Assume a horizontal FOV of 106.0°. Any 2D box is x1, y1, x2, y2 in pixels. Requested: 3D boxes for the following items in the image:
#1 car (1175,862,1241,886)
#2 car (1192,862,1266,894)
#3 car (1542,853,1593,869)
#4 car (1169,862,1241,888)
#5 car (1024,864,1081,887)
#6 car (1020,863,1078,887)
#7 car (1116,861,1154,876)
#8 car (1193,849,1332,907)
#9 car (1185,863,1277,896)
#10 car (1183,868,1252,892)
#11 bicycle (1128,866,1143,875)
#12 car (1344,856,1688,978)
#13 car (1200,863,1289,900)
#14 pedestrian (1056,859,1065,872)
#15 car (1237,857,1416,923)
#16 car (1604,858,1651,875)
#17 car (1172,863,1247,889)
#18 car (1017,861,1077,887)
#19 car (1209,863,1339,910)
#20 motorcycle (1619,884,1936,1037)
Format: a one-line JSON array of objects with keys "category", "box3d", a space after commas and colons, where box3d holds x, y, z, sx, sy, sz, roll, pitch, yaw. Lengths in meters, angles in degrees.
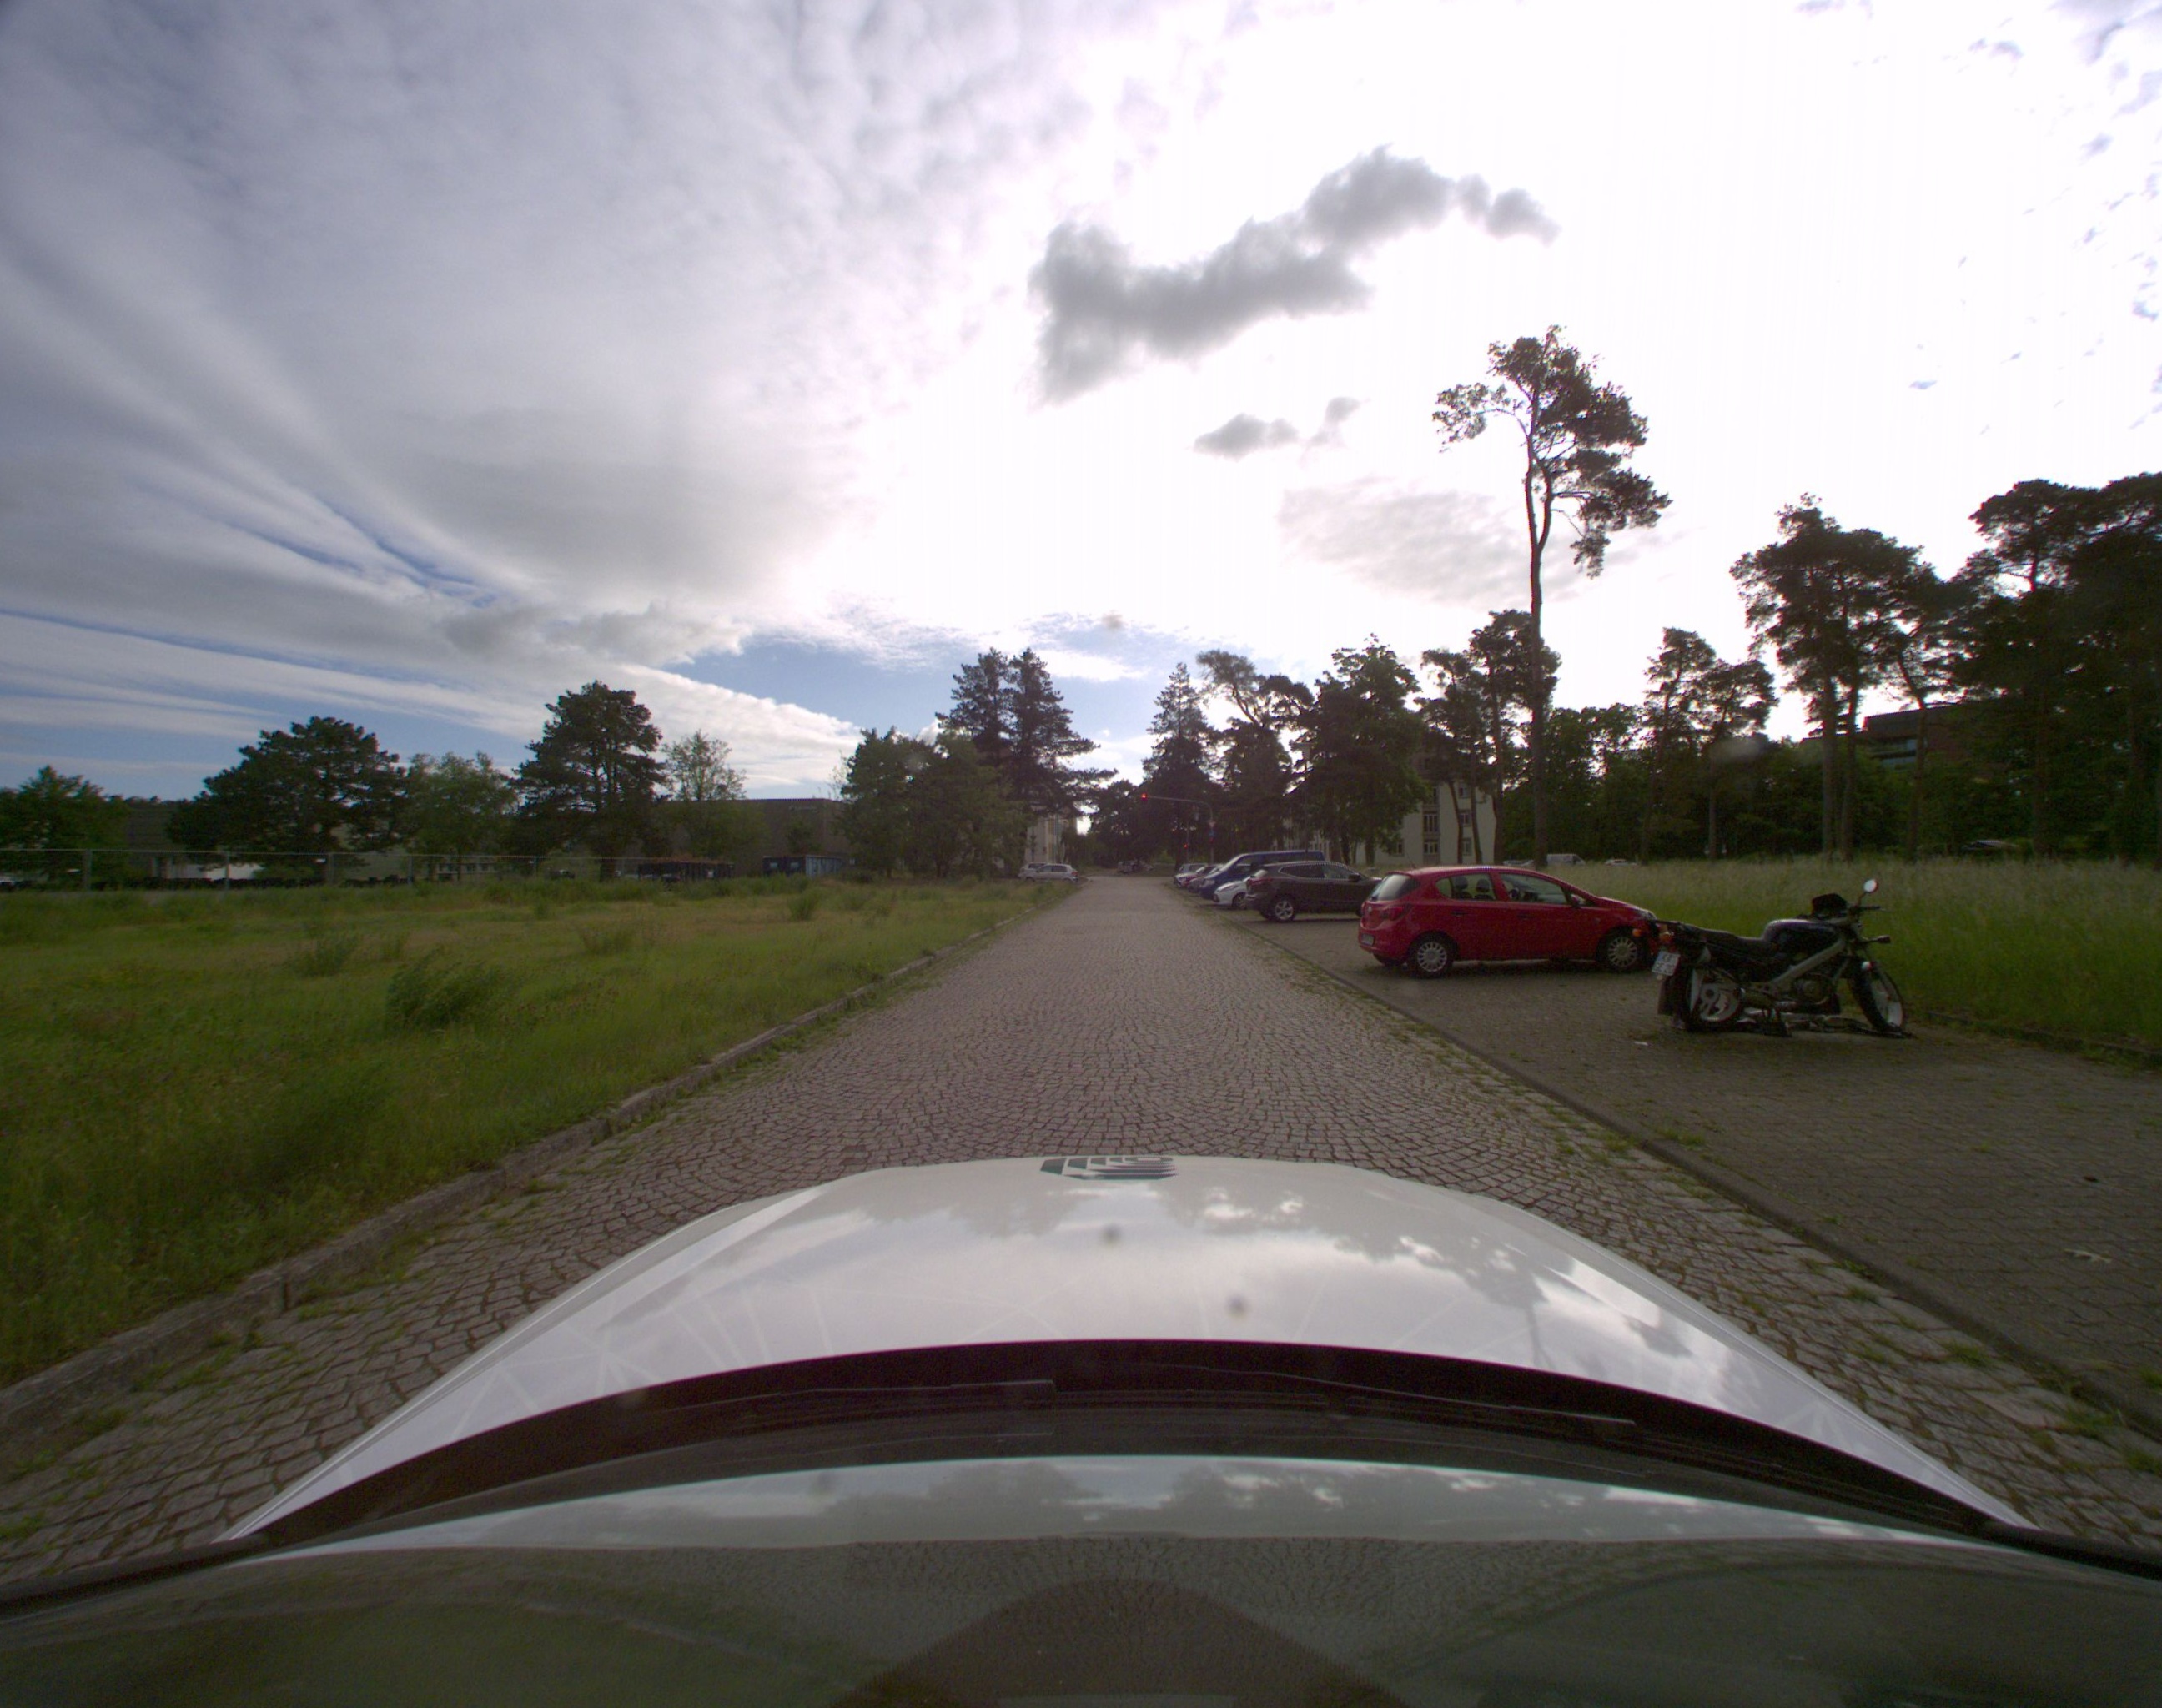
[{"category": "car", "box3d": [8.445, 1.330, 54.467, 4.125, 1.463, 1.632, -1, -1, -3]}, {"category": "car", "box3d": [7.575, 1.226, 41.834, 3.491, 1.487, 1.744, -2, -1, 2]}, {"category": "car", "box3d": [62.877, 0.927, 105.353, 5.277, 2.020, 2.107, 1, -1, 3]}, {"category": "car", "box3d": [7.904, 1.321, 51.932, 4.226, 1.479, 1.705, -1, -1, -8]}, {"category": "car", "box3d": [-2.164, 1.623, 61.844, 4.288, 1.554, 1.810, -1, -1, -3]}, {"category": "car", "box3d": [-2.114, 1.378, 53.977, 3.708, 1.481, 1.673, 2, -1, 0]}, {"category": "car", "box3d": [8.044, 2.132, 121.504, 5.375, 2.101, 2.171, -1, -1, -10]}, {"category": "car", "box3d": [6.780, 0.903, 30.773, 4.779, 2.004, 1.966, -2, -1, 1]}, {"category": "car", "box3d": [7.119, 1.210, 38.981, 4.113, 1.447, 1.767, -2, -1, 3]}, {"category": "car", "box3d": [7.396, 1.410, 44.468, 3.571, 1.223, 1.630, -2, -1, 4]}, {"category": "bicycle", "box3d": [7.362, 2.176, 110.205, 1.877, 1.171, 0.664, 1, -1, -3]}, {"category": "car", "box3d": [5.984, 0.835, 11.569, 3.909, 1.496, 1.785, -1, -1, 1]}, {"category": "car", "box3d": [7.200, 1.200, 36.068, 3.638, 1.479, 1.767, -2, -1, 2]}, {"category": "pedestrian", "box3d": [-3.018, 1.659, 119.676, 1.070, 1.959, 1.122, 1, -1, 3]}, {"category": "car", "box3d": [6.483, 0.940, 21.869, 4.189, 1.595, 1.953, -2, -1, 0]}, {"category": "car", "box3d": [63.460, 1.462, 94.568, 4.114, 1.804, 1.902, 1, -1, 5]}, {"category": "car", "box3d": [7.736, 1.308, 49.168, 4.178, 1.437, 1.752, -1, -1, -5]}, {"category": "car", "box3d": [-2.487, 1.445, 59.403, 4.287, 1.732, 1.651, -1, -1, -3]}, {"category": "car", "box3d": [6.622, 1.093, 28.228, 4.085, 1.479, 1.721, -1, -1, 0]}, {"category": "motorcycle", "box3d": [5.984, 0.897, 7.066, 2.222, 1.202, 0.568, -2, -1, 0]}]
